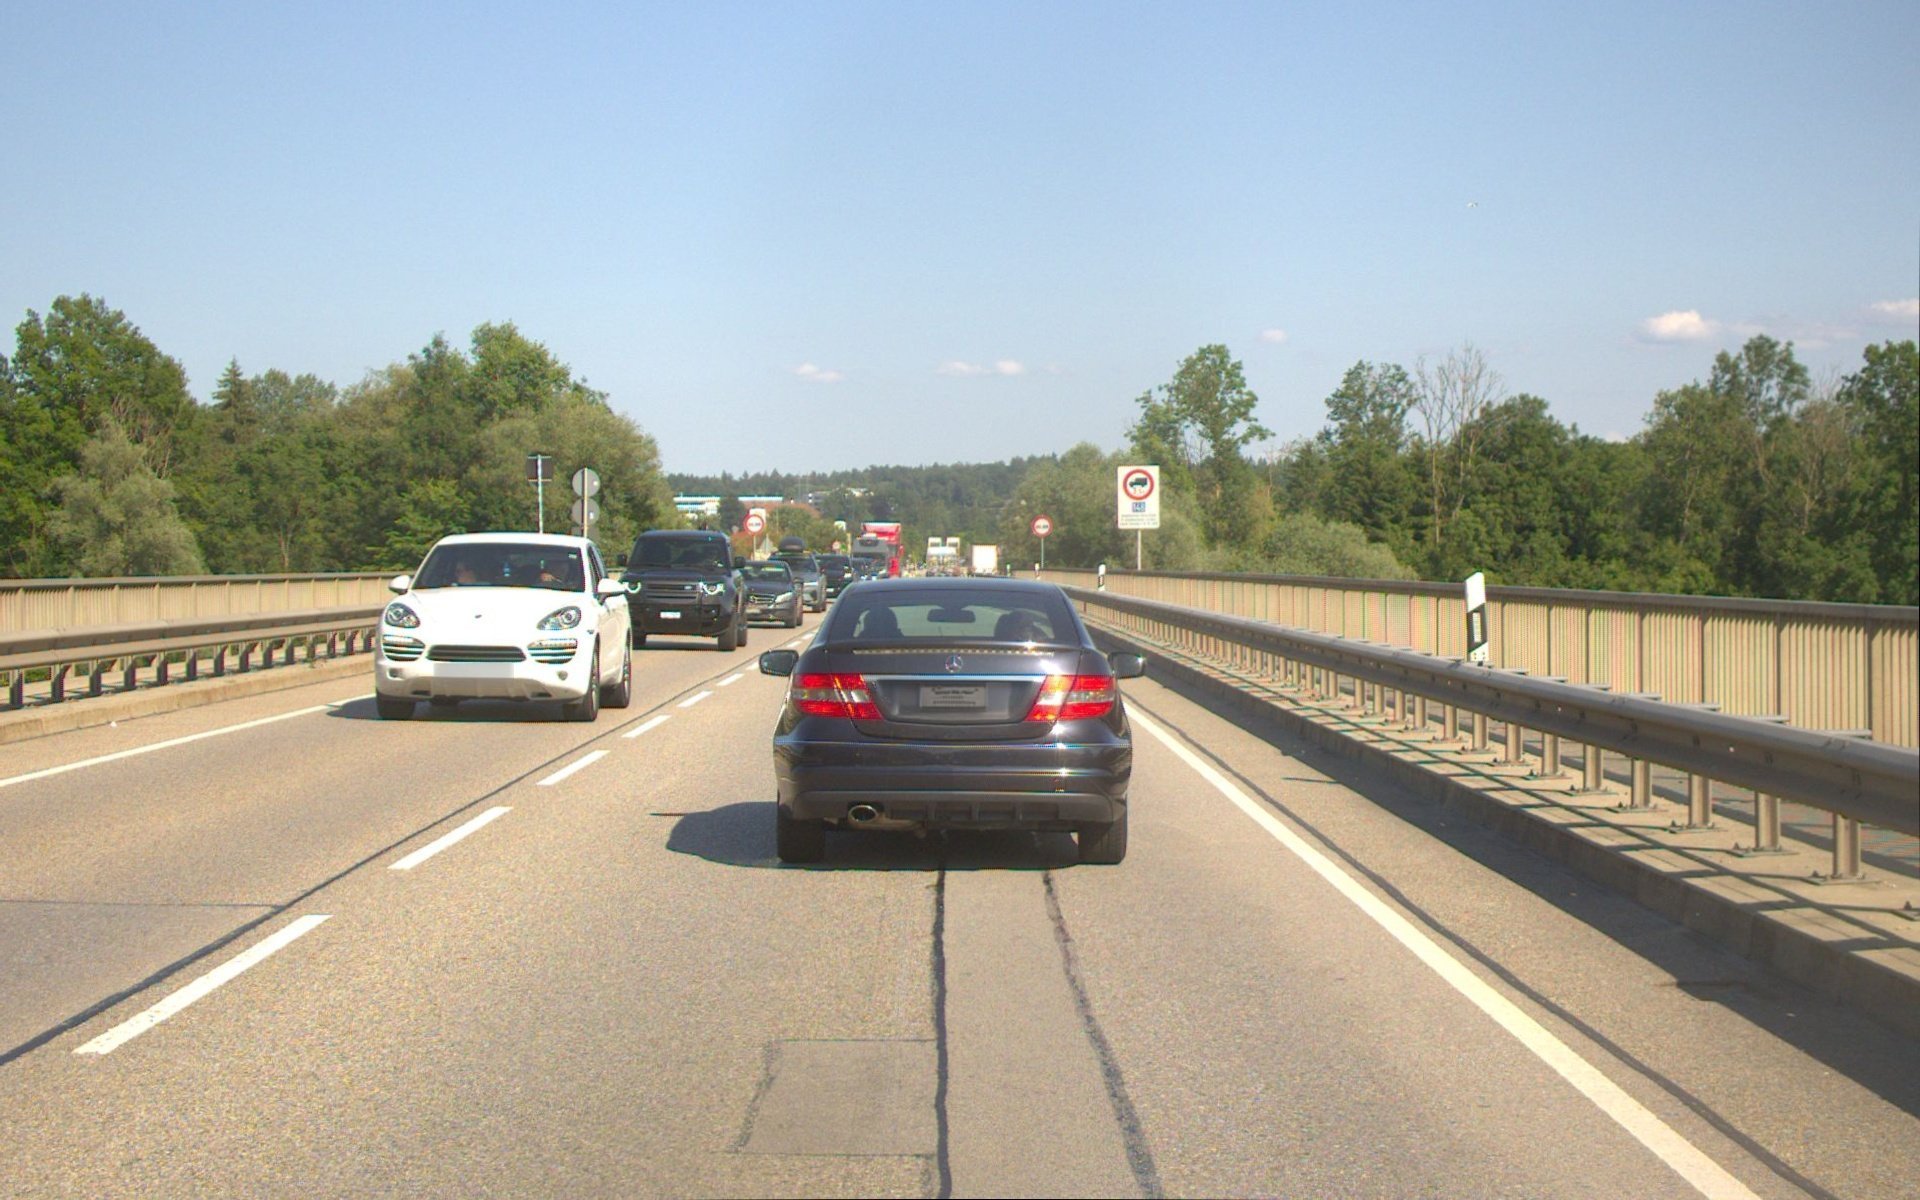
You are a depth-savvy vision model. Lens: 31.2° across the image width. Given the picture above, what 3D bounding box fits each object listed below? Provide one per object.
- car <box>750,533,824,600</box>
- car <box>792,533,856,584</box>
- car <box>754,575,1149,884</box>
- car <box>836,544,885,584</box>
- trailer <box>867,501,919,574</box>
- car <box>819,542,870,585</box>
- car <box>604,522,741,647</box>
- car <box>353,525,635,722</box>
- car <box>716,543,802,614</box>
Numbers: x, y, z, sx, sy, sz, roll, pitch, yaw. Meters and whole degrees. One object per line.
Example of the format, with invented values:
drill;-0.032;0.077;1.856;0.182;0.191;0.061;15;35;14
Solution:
car;-4.807;-0.948;96.175;1.854;1.716;4.566;3;1;-2
car;-4.774;-1.453;120.001;2.053;1.647;4.722;2;1;-4
car;-0.042;0.575;17.677;1.793;1.371;4.000;0;1;0
car;-4.305;-1.565;148.046;1.874;1.578;4.275;2;2;-4
trailer;-4.208;-3.952;218.691;2.907;4.287;14.303;3;1;0
car;-4.603;-1.449;136.659;1.806;1.572;4.202;3;1;-4
car;-4.623;-0.292;55.844;2.037;1.867;5.071;2;1;-3
car;-4.214;0.153;31.785;1.983;1.645;4.598;1;1;0
car;-4.310;-0.482;73.594;1.765;1.442;4.457;1;1;-4
